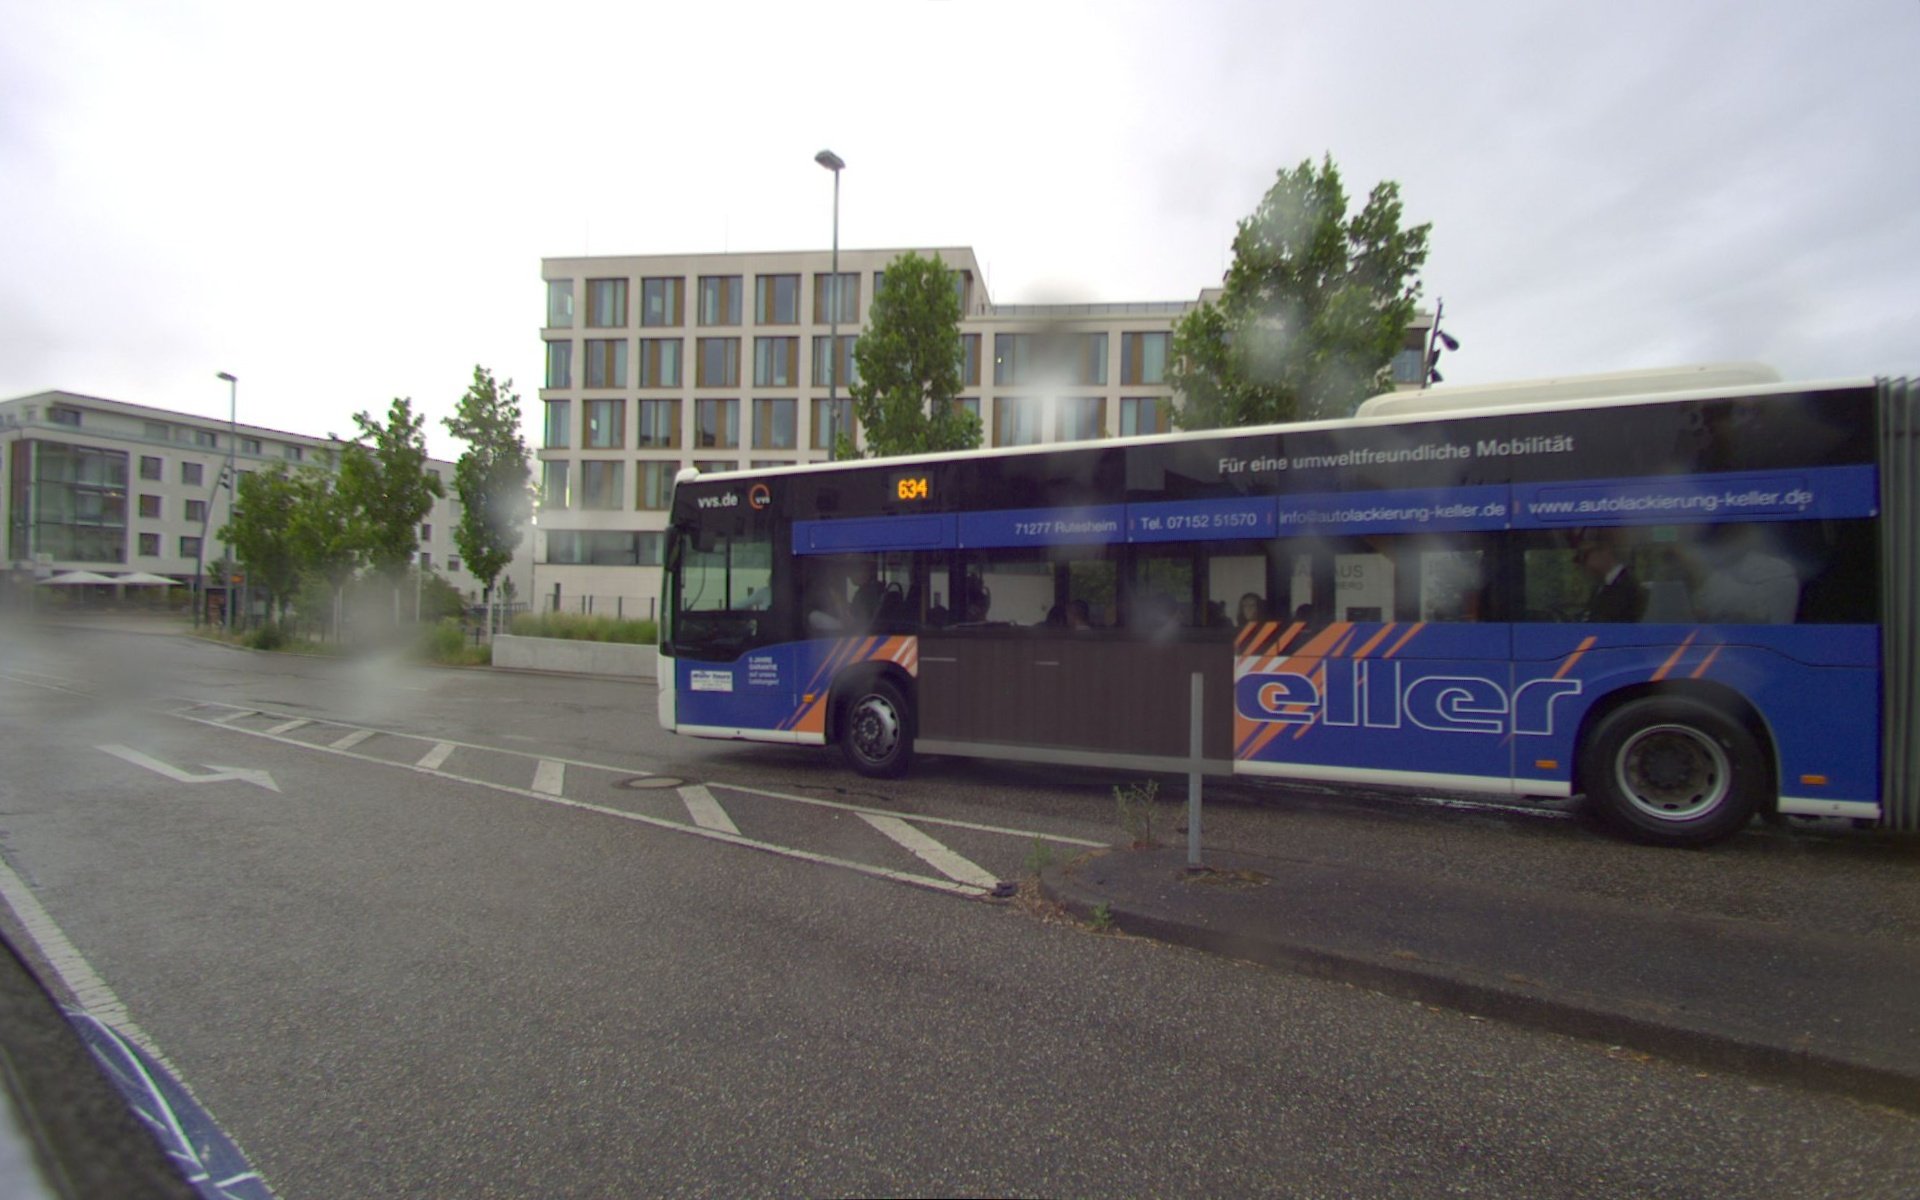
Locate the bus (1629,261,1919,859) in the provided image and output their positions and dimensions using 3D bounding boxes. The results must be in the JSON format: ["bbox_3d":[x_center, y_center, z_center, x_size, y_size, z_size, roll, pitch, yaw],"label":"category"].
[{"bbox_3d":[9.717,-0.159,6.076,9.248,3.138,2.782,0,-1,5],"label":"bus"}]

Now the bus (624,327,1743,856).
[{"bbox_3d":[1.267,-0.012,9.233,8.837,3.138,2.776,0,-1,27],"label":"bus"}]
